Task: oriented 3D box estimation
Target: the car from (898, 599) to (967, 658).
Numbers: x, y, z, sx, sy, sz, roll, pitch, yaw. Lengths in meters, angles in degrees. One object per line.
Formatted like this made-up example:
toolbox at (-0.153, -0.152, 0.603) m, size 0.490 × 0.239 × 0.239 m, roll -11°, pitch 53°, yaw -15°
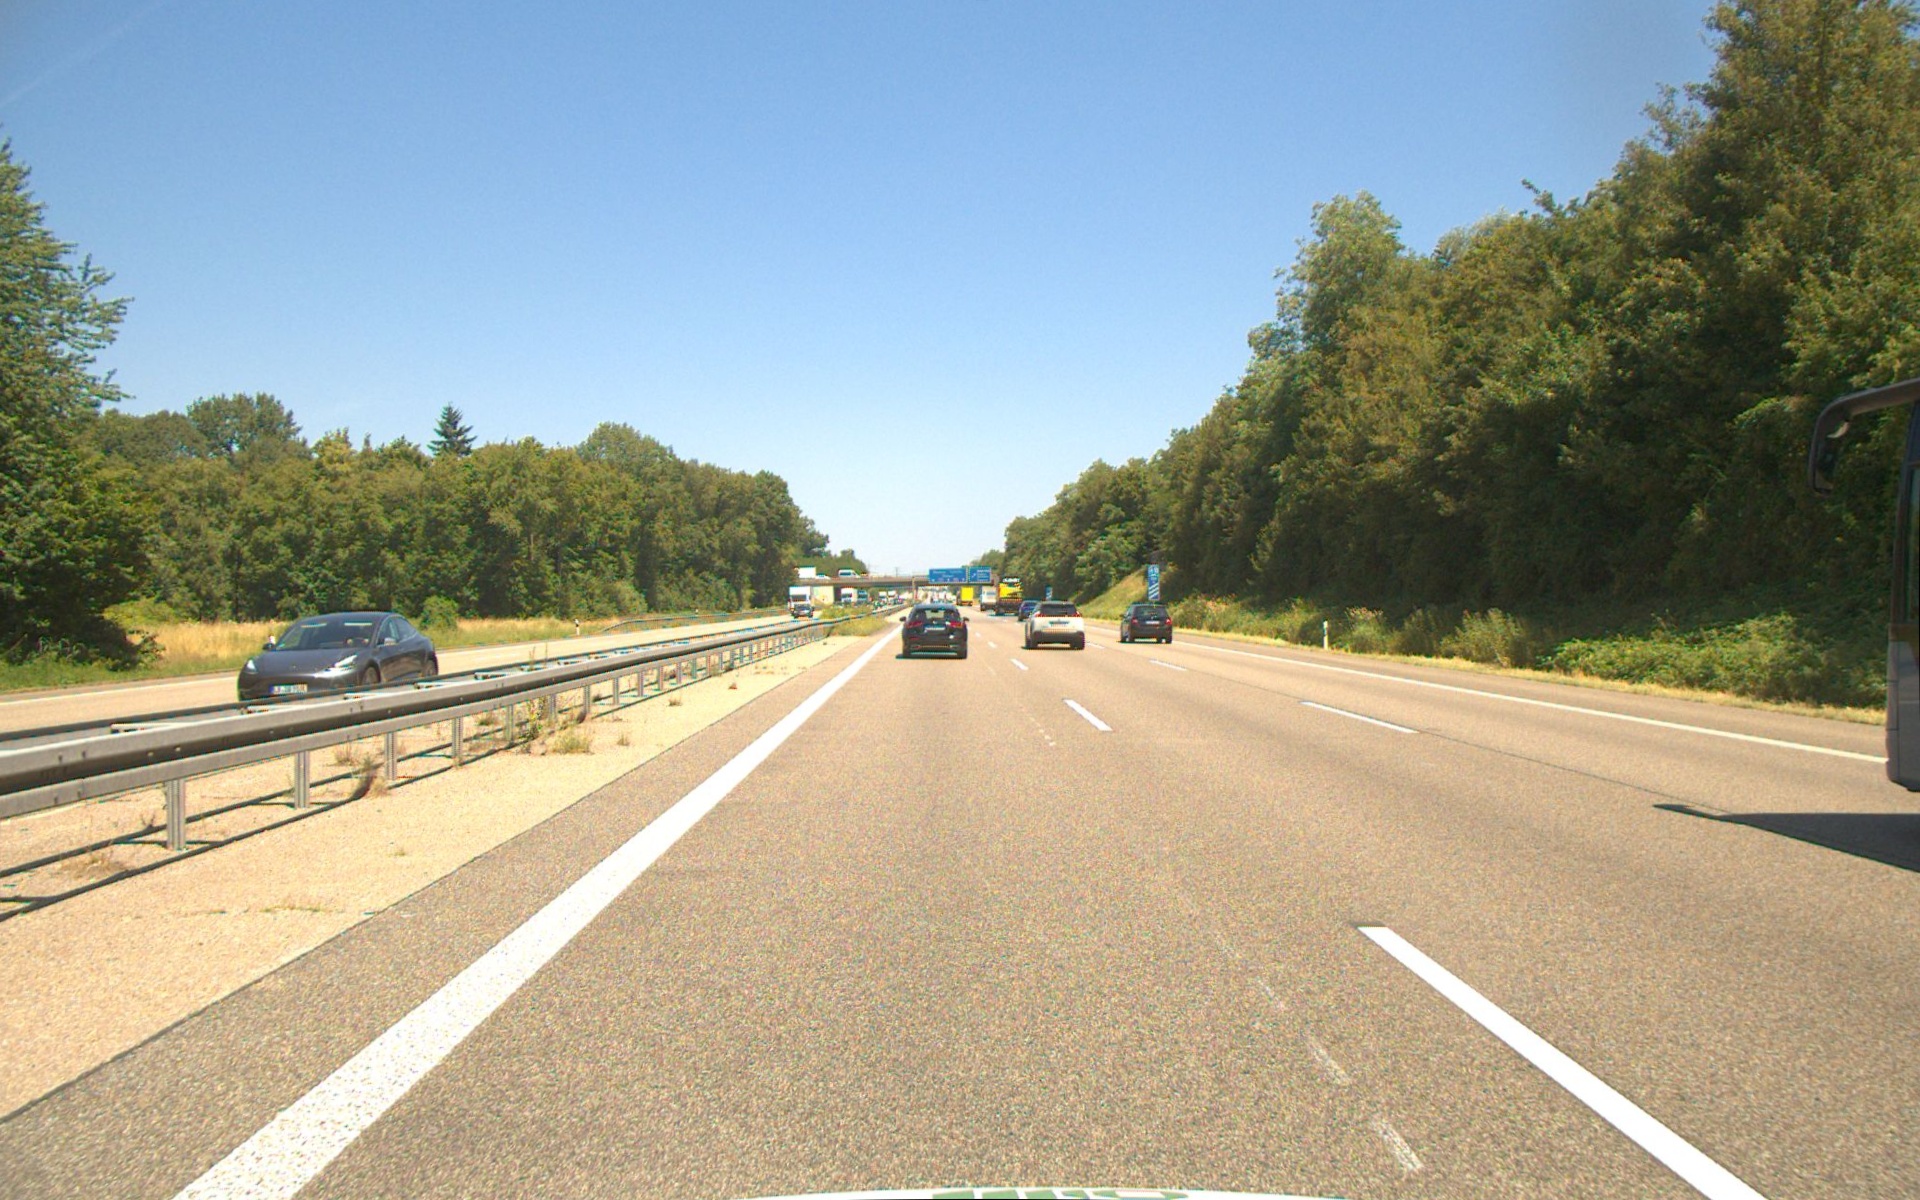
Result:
car at (-0.785, 0.734, 45.125) m, size 1.763 × 1.528 × 4.239 m, roll 0°, pitch 0°, yaw -2°

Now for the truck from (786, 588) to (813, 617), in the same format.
truck at (-21.217, 0.369, 219.231) m, size 2.739 × 3.696 × 10.692 m, roll -1°, pitch 0°, yaw -2°

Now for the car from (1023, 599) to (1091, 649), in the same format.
car at (3.146, 0.763, 54.397) m, size 1.861 × 1.559 × 4.239 m, roll 0°, pitch 0°, yaw -2°

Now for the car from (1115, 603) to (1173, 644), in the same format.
car at (7.024, 0.887, 63.339) m, size 1.753 × 1.487 × 3.949 m, roll 0°, pitch 0°, yaw 0°

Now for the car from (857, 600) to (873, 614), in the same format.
car at (-12.054, 0.845, 209.939) m, size 1.763 × 1.725 × 4.240 m, roll 0°, pitch 0°, yaw -1°

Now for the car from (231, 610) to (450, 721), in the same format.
car at (-9.382, 0.930, 25.443) m, size 1.769 × 1.506 × 4.565 m, roll -1°, pitch 0°, yaw -2°

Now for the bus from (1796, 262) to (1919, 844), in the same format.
bus at (7.557, -0.310, 5.664) m, size 2.746 × 3.659 × 12.469 m, roll 0°, pitch 0°, yaw -2°

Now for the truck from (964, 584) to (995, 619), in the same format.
truck at (2.675, 0.215, 233.868) m, size 3.574 × 4.670 × 17.239 m, roll 1°, pitch 0°, yaw -2°

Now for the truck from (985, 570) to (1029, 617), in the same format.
truck at (4.818, -0.594, 174.578) m, size 3.574 × 4.670 × 15.759 m, roll 1°, pitch 0°, yaw -2°

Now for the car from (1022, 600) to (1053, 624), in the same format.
car at (5.978, 0.888, 128.080) m, size 2.034 × 1.781 × 4.239 m, roll -1°, pitch 0°, yaw -2°

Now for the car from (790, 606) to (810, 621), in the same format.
car at (-16.802, 1.379, 173.756) m, size 1.763 × 1.559 × 4.676 m, roll 0°, pitch 0°, yaw -2°
